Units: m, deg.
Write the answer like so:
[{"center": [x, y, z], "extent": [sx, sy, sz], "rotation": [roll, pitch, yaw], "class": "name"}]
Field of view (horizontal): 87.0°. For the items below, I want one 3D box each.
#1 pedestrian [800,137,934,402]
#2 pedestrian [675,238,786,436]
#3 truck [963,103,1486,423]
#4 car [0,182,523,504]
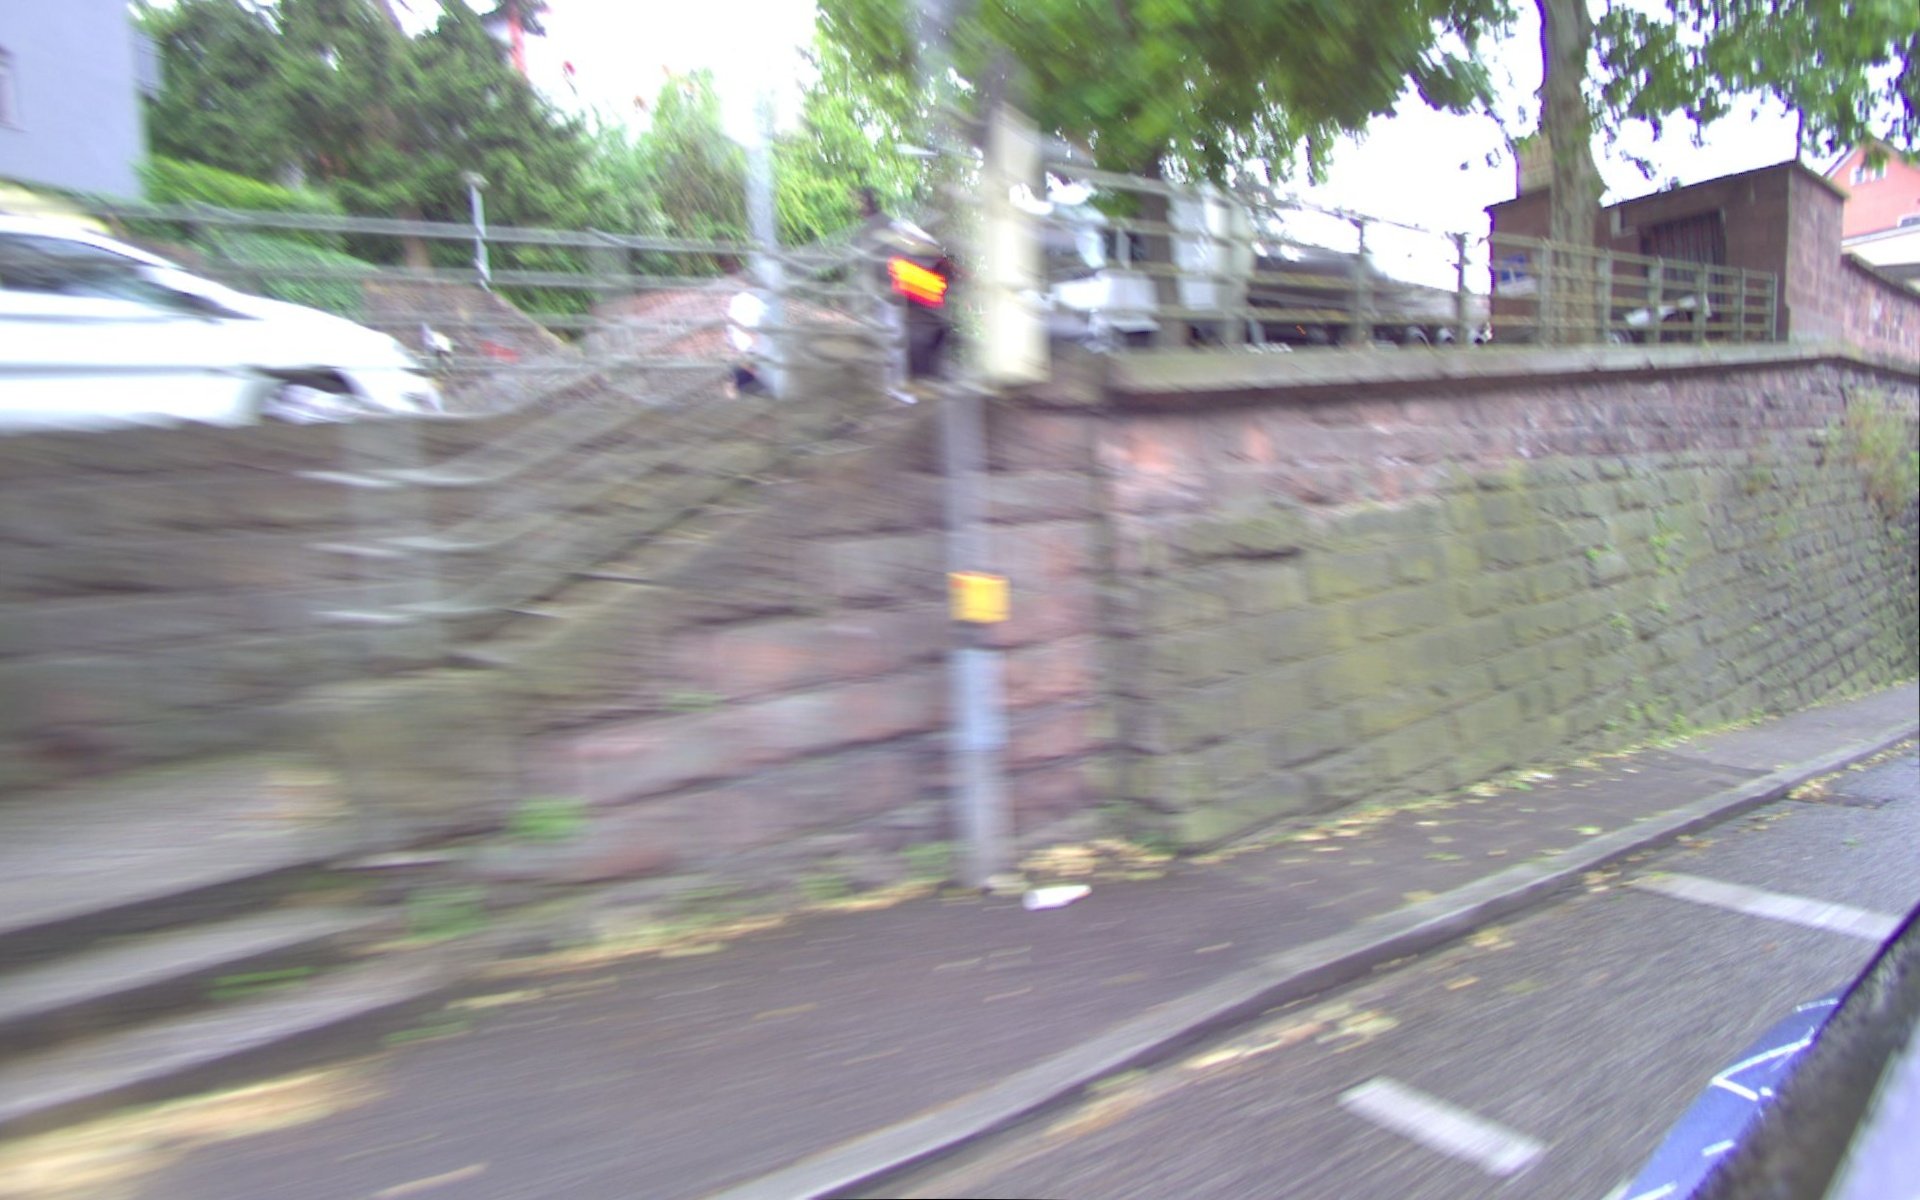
[{"center": [-0.672, -2.398, 7.575], "extent": [0.767, 1.697, 0.871], "rotation": [1, 4, 13], "class": "pedestrian"}, {"center": [-2.236, -2.493, 9.834], "extent": [0.764, 1.697, 0.875], "rotation": [-3, 5, -35], "class": "pedestrian"}, {"center": [5.038, -5.024, 16.296], "extent": [11.071, 3.341, 2.750], "rotation": [-15, 13, -43], "class": "truck"}, {"center": [-5.168, -1.439, 6.038], "extent": [4.280, 1.508, 1.633], "rotation": [-12, 8, -40], "class": "car"}]
